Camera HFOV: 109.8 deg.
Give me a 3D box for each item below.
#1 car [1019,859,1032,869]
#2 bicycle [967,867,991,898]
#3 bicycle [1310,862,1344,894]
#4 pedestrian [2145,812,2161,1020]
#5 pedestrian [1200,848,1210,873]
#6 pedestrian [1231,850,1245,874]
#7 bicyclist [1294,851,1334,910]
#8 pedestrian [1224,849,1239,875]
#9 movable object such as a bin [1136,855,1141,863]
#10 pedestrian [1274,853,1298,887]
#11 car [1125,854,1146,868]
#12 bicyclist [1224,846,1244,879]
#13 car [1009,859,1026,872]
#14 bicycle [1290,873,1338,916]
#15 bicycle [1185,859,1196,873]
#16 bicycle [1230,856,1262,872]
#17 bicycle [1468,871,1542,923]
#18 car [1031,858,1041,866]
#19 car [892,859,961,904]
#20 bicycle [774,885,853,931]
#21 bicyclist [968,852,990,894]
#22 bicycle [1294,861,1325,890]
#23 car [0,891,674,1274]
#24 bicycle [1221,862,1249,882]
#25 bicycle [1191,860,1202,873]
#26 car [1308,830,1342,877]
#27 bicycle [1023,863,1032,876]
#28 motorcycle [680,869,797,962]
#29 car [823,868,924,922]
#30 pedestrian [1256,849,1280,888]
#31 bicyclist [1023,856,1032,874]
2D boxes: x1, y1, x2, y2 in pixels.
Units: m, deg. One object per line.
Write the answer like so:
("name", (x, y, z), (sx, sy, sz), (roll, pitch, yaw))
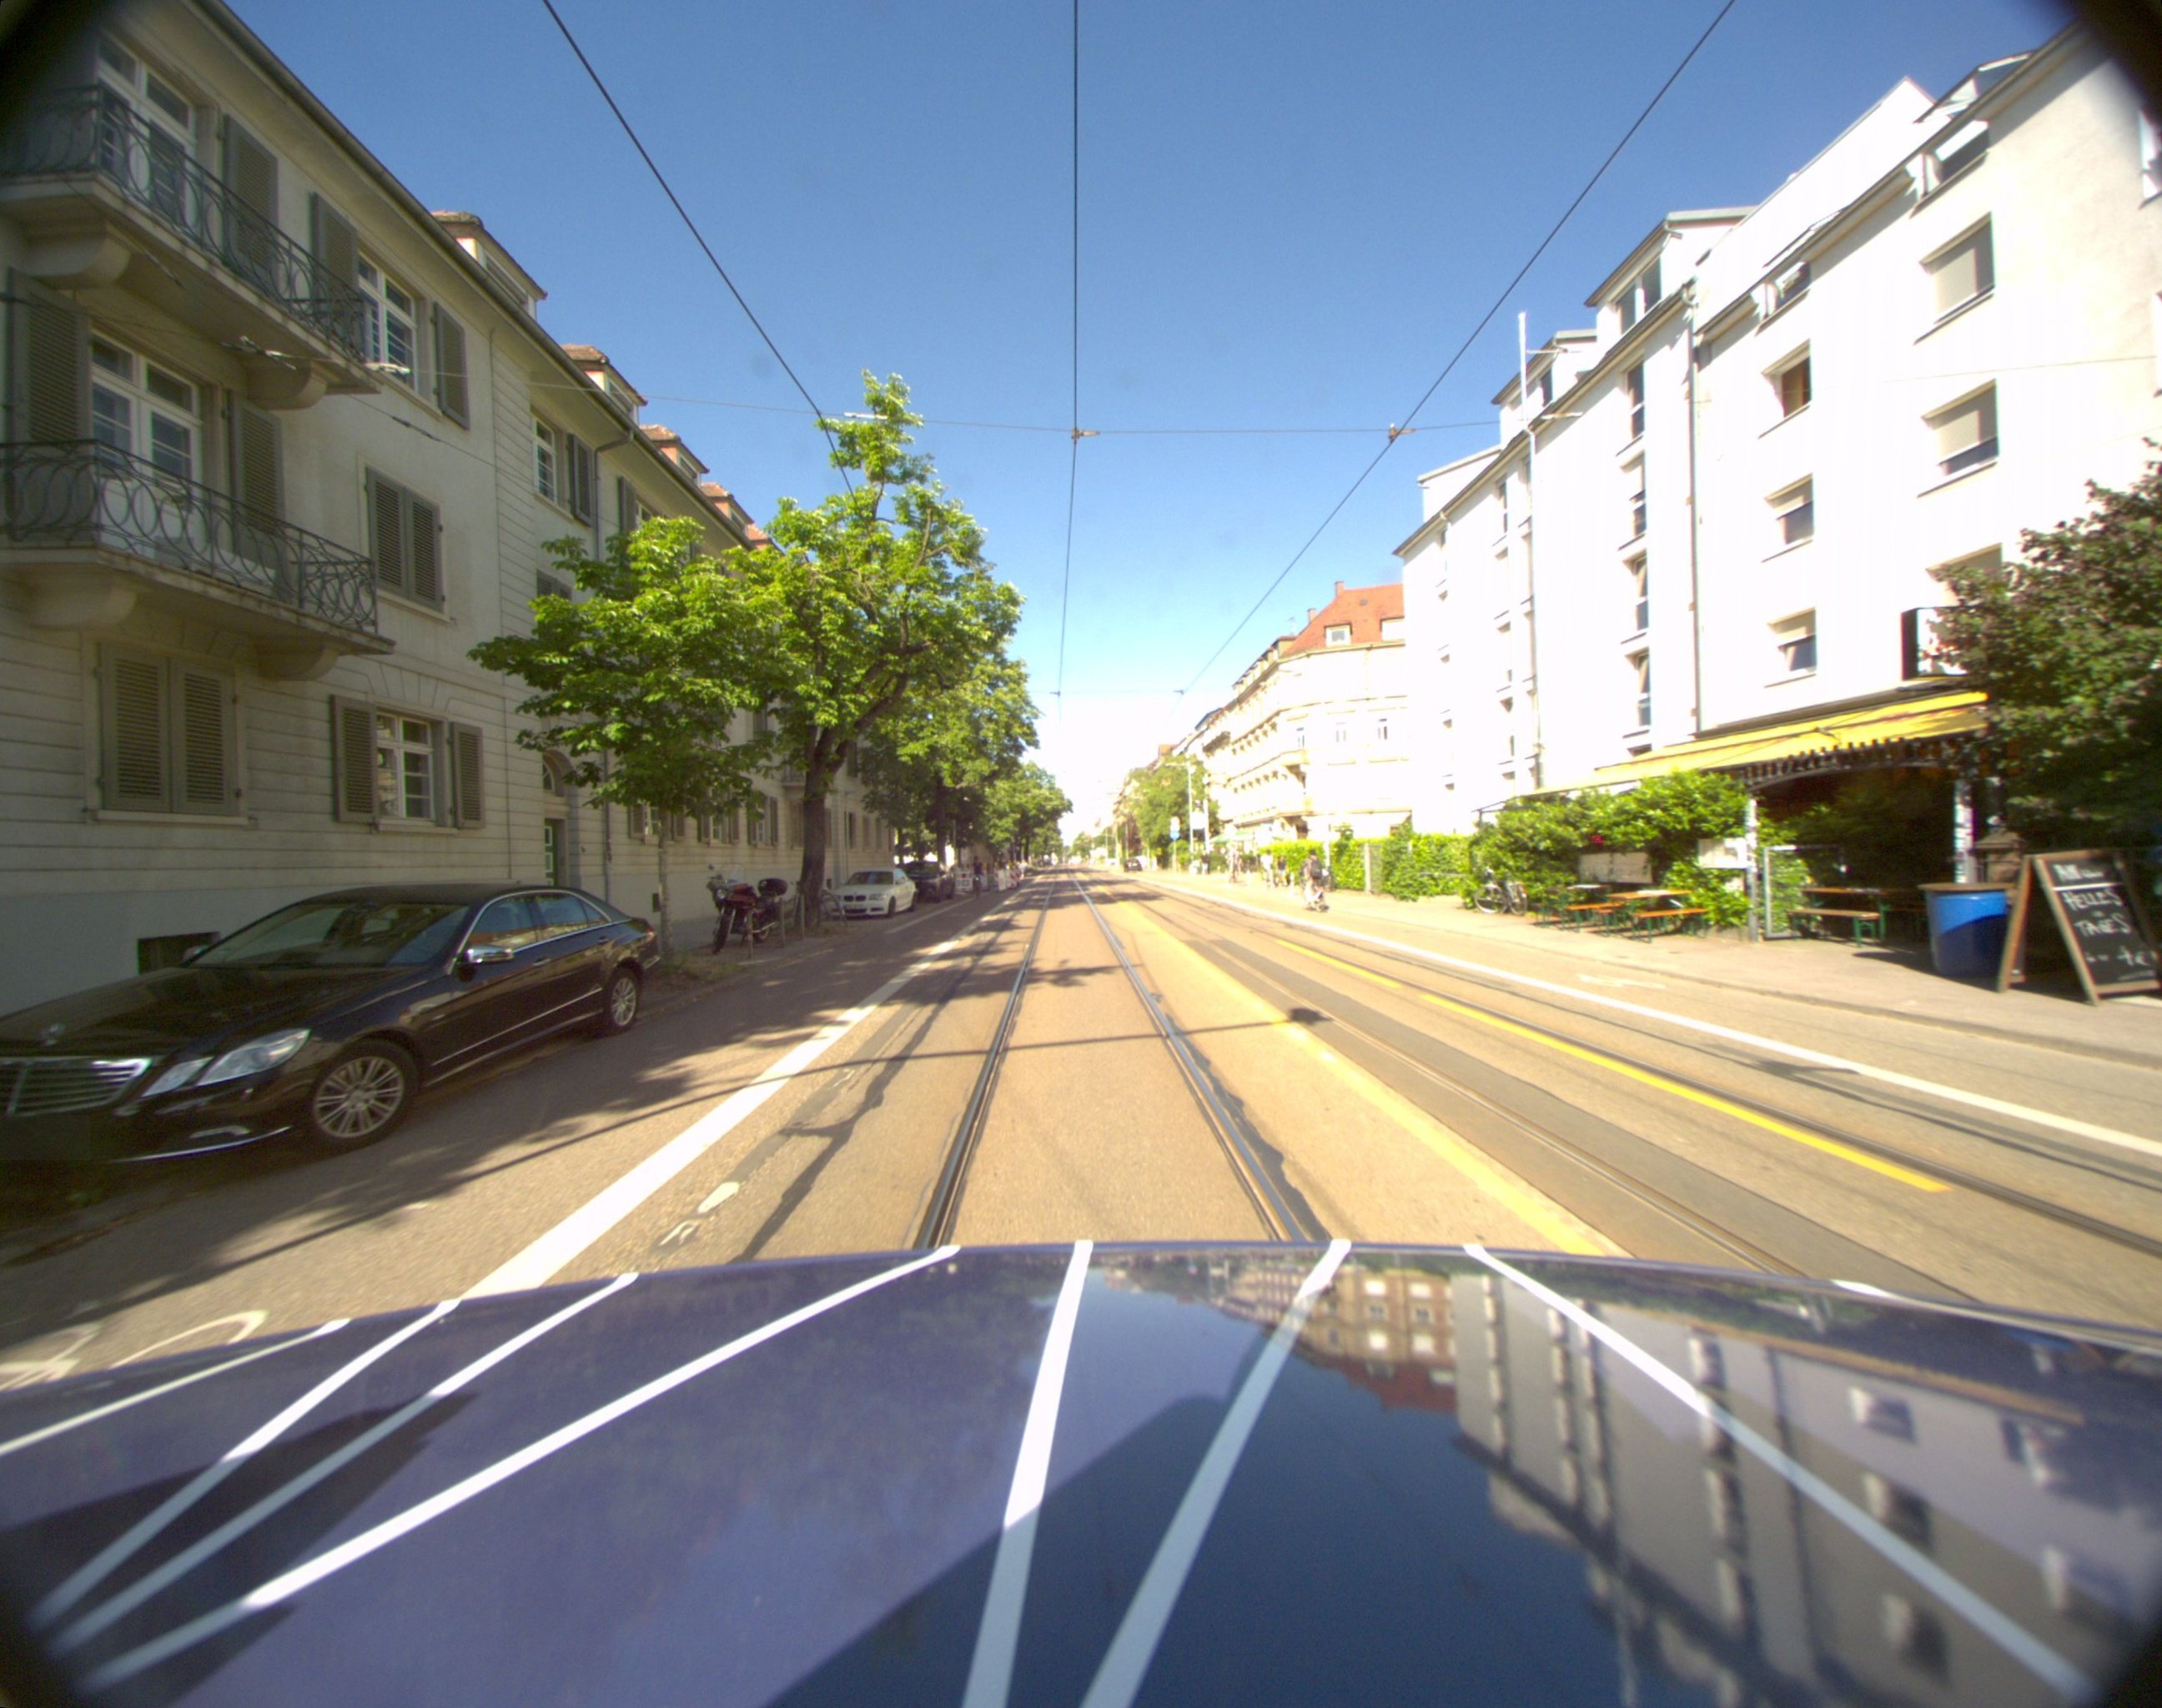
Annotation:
("car", (-7.834, 1.389, 107.735), (1.824, 1.475, 4.748), (-1, 0, -4))
("bicycle", (-4.390, 1.201, 32.899), (0.763, 1.235, 2.096), (-3, 0, -1))
("bicycle", (9.488, 0.910, 29.372), (0.663, 1.083, 1.840), (-5, 1, 0))
("pedestrian", (9.678, 0.540, 6.367), (0.576, 1.821, 0.690), (-2, 1, 18))
("pedestrian", (9.089, 0.472, 55.821), (0.558, 1.771, 0.538), (-2, 1, -4))
("pedestrian", (11.062, 0.531, 53.414), (0.705, 1.645, 0.834), (-1, 2, 30))
("bicyclist", (6.561, 0.734, 21.467), (0.747, 1.590, 1.118), (1, 0, 0))
("pedestrian", (10.353, 0.563, 52.242), (0.692, 1.757, 0.868), (-1, 1, 33))
("movable object such as a bin", (8.280, 0.712, 110.219), (0.590, 1.169, 0.665), (-2, 0, -6))
("pedestrian", (9.106, 0.702, 33.768), (0.756, 1.469, 0.956), (-3, 0, -1))
("car", (5.908, 0.757, 83.039), (1.869, 1.567, 4.588), (0, 0, -1))
("bicyclist", (8.700, 0.483, 43.195), (0.705, 1.843, 0.987), (0, 2, 42))
("car", (-7.415, 1.319, 89.336), (1.705, 1.463, 4.213), (-1, 0, -1))
("bicycle", (6.554, 1.121, 21.475), (0.747, 1.075, 1.899), (1, 0, 0))
("bicycle", (8.791, 0.943, 61.129), (0.515, 1.032, 2.223), (-2, 0, -1))
("bicycle", (12.076, 0.740, 55.604), (2.244, 1.038, 0.876), (-2, 1, 8))
("bicycle", (9.568, 0.942, 17.240), (0.640, 1.053, 1.743), (-4, 0, 0))
("car", (-8.458, 1.540, 142.187), (1.761, 1.458, 4.612), (-1, 0, -4))
("car", (-6.046, 1.022, 30.209), (1.815, 1.616, 4.583), (1, 0, 0))
("bicycle", (-6.266, 1.268, 17.861), (1.623, 1.037, 0.685), (0, 0, 0))
("bicyclist", (-4.413, 0.813, 32.976), (0.763, 1.728, 1.046), (-3, 0, -1))
("bicycle", (9.434, 0.882, 31.407), (0.663, 1.083, 1.840), (-5, 1, 0))
("car", (-5.103, 1.115, 5.692), (1.827, 1.450, 4.816), (0, 0, -5))
("bicycle", (8.780, 1.022, 43.289), (0.705, 1.049, 1.839), (0, 2, 42))
("bicycle", (8.689, 0.926, 57.353), (0.528, 0.975, 1.777), (-2, 0, -1))
("car", (15.703, -0.084, 49.141), (1.889, 2.825, 4.788), (-1, 1, 16))
("bicycle", (-4.747, 1.346, 67.663), (0.776, 1.080, 2.058), (-2, 0, -4))
("motorcycle", (-6.116, 1.036, 13.799), (0.916, 1.480, 2.679), (0, 0, 0))
("car", (-5.962, 1.140, 22.379), (1.728, 1.374, 4.356), (0, 0, 1))
("pedestrian", (8.343, 0.634, 33.918), (0.756, 1.704, 0.808), (-3, 0, -1))
("bicyclist", (-4.757, 0.970, 67.665), (0.776, 1.505, 1.229), (-2, 0, -4))
